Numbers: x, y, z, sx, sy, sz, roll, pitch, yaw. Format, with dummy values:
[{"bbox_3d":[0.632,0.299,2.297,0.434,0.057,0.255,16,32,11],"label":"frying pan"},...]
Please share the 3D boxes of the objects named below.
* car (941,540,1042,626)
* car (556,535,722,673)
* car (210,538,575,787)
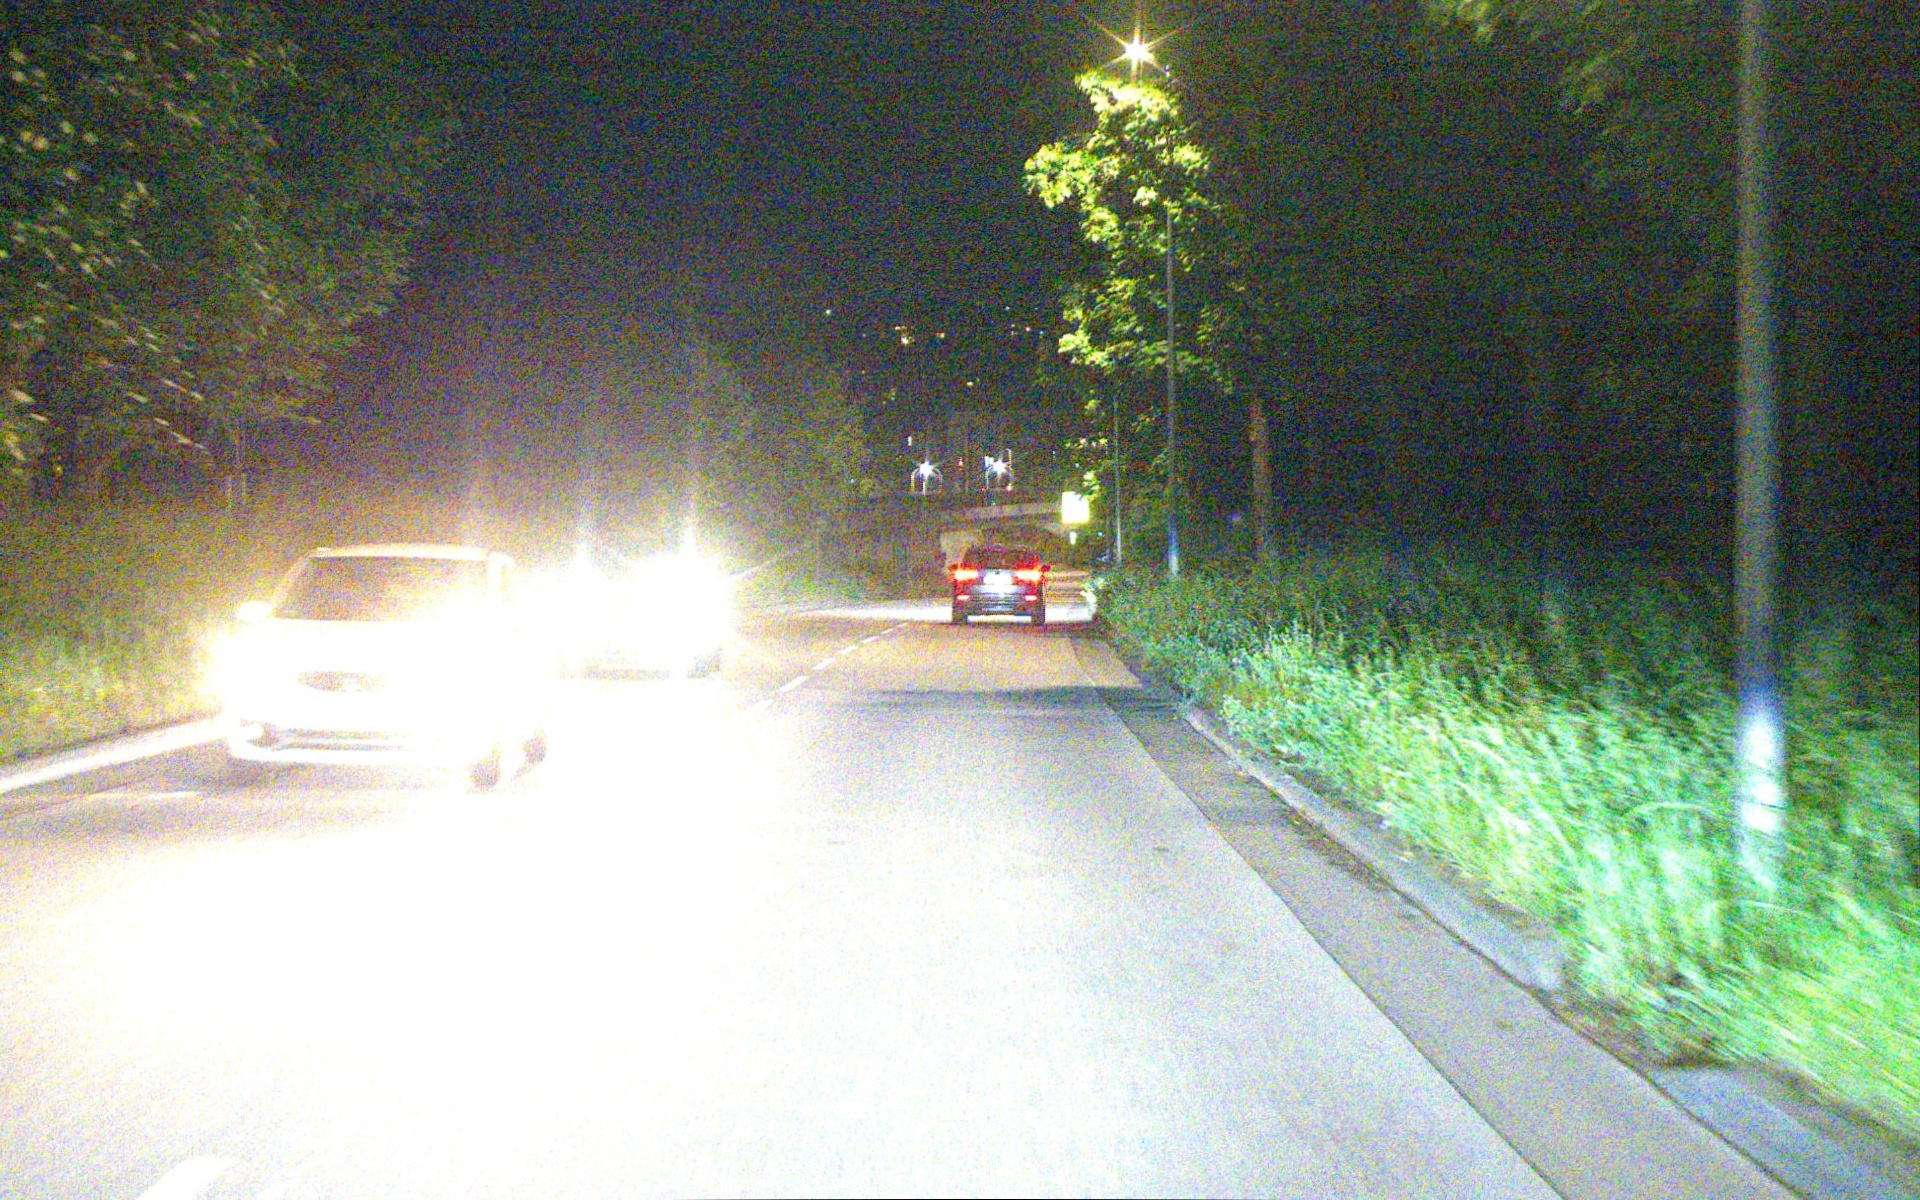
[{"bbox_3d":[0.593,-0.365,68.072,1.763,1.636,3.723,0,1,-3],"label":"car"},{"bbox_3d":[-3.627,0.016,39.322,1.647,1.486,3.558,1,1,-1],"label":"car"},{"bbox_3d":[-3.567,0.338,22.243,1.687,1.452,4.000,1,1,0],"label":"car"}]
